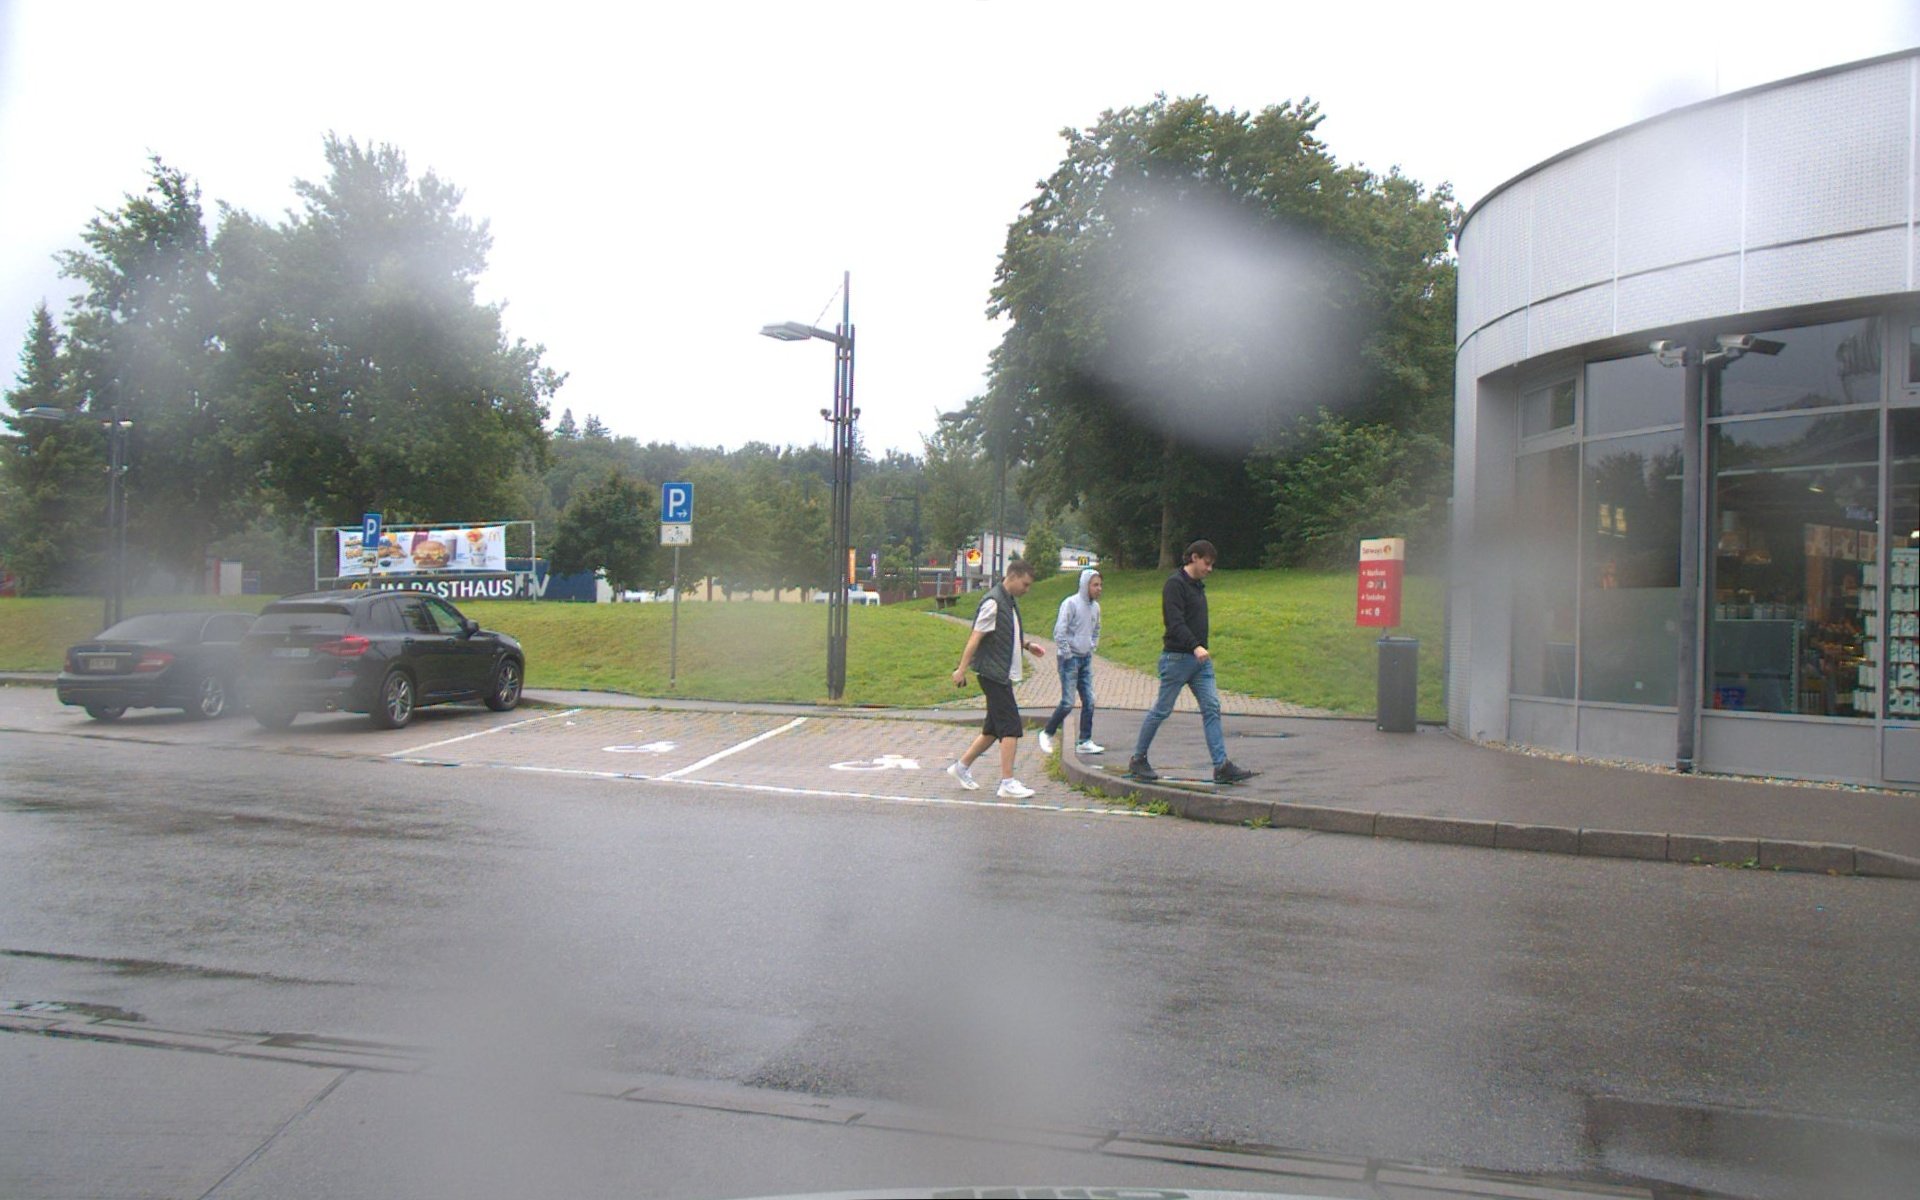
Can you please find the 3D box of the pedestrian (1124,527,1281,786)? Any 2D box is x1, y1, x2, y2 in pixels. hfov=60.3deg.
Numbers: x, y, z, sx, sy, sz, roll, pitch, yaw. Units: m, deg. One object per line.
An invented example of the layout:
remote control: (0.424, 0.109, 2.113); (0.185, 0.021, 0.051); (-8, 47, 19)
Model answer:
pedestrian: (1.867, 0.414, 12.704); (0.979, 1.897, 0.798); (0, 0, 28)

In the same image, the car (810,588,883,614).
car: (-9.157, 0.062, 133.640); (5.310, 2.049, 2.456); (1, 0, 19)

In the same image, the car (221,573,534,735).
car: (-7.325, 0.608, 21.331); (1.844, 1.860, 4.417); (0, 0, 11)

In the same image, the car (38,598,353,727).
car: (-10.351, 0.780, 22.770); (1.844, 1.592, 4.189); (0, 0, 11)

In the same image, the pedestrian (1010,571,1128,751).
pedestrian: (0.996, 0.535, 15.040); (0.872, 1.577, 0.659); (0, 0, 29)

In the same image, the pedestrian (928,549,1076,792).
pedestrian: (0.343, 0.543, 13.381); (0.954, 1.880, 0.772); (0, 0, 28)
